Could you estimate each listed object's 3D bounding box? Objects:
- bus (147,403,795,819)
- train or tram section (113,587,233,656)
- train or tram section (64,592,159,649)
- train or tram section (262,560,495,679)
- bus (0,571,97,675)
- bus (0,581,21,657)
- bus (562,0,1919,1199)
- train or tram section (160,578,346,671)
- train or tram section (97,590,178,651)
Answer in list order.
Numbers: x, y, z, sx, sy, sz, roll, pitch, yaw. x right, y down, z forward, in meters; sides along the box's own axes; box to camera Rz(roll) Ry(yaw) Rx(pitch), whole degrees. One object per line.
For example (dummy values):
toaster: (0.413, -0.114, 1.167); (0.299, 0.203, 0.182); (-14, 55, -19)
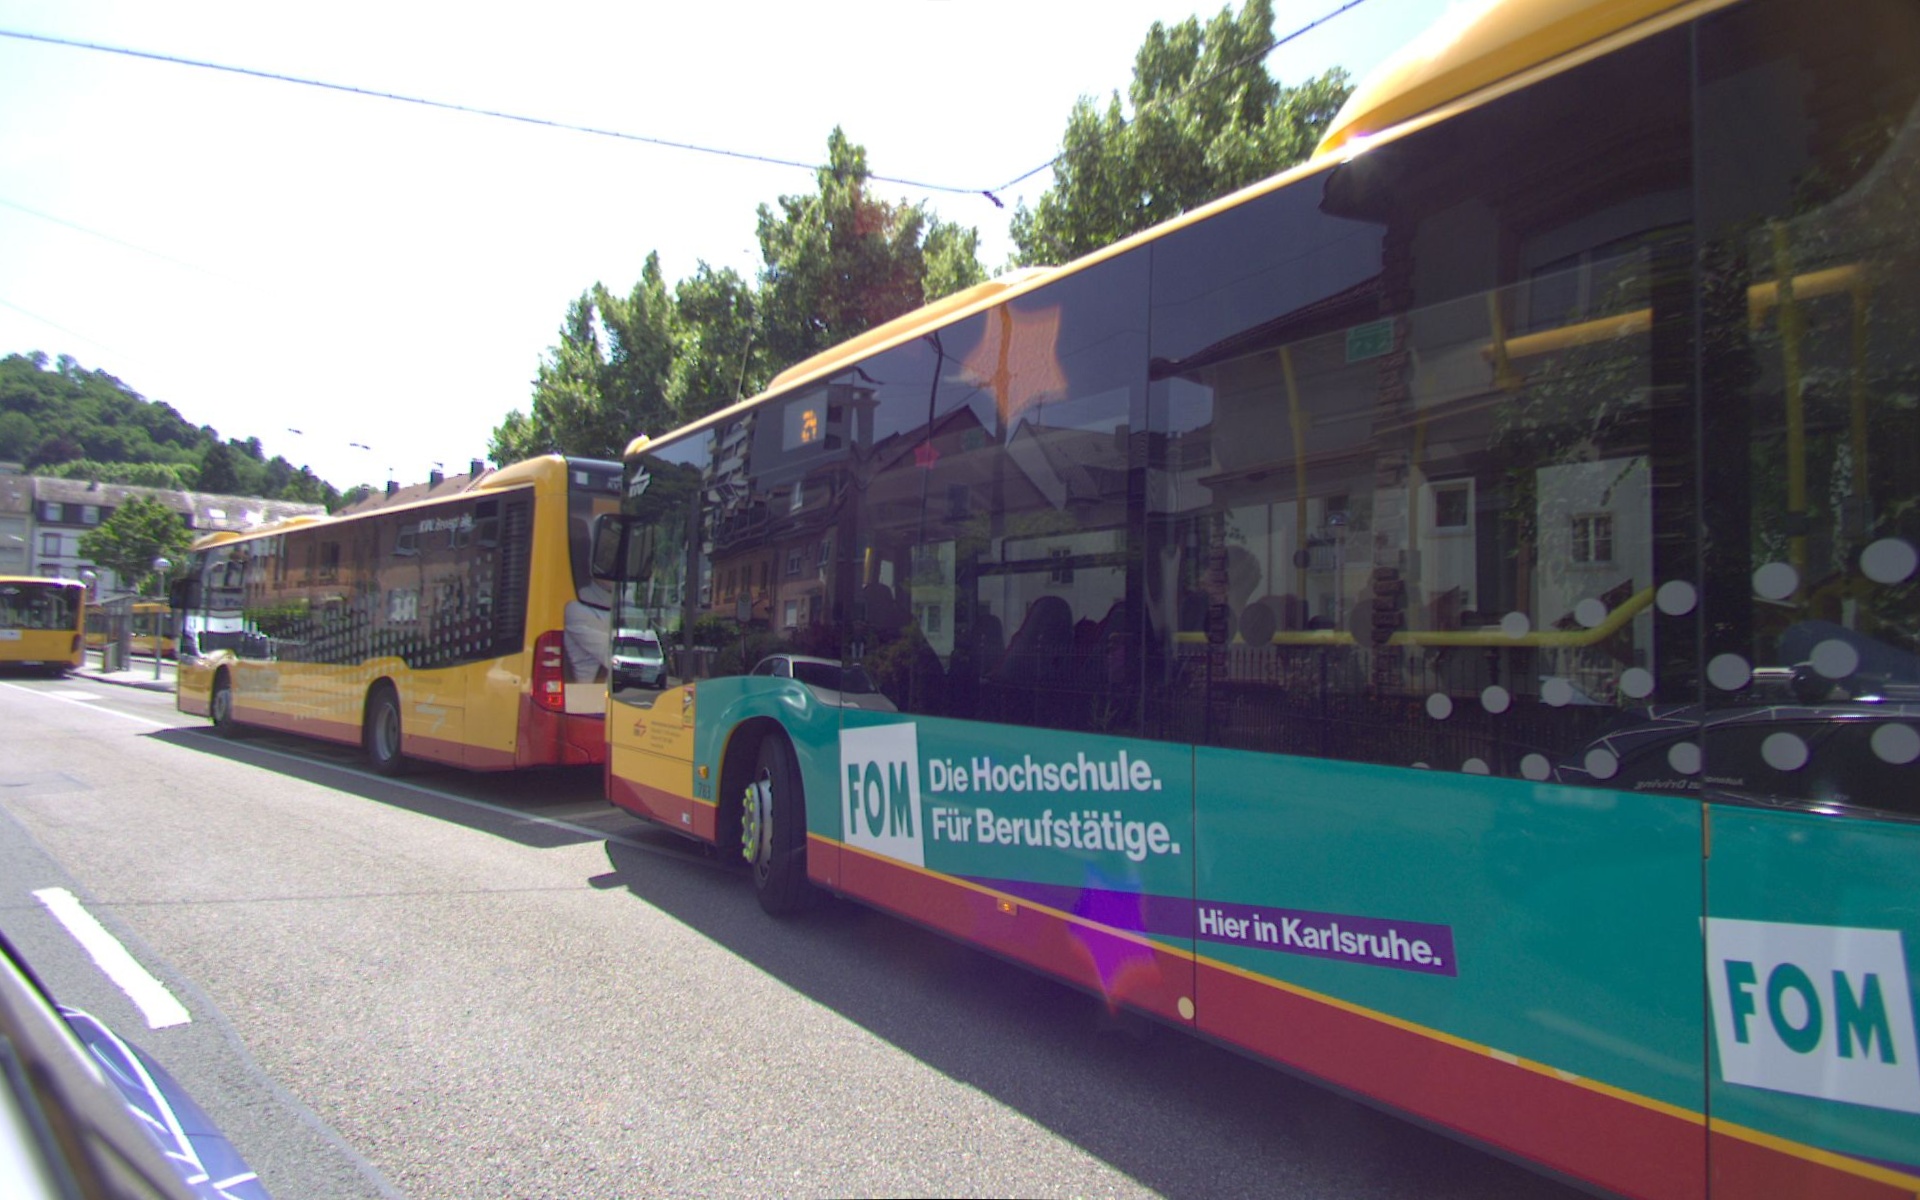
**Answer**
bus: (-7.188, 0.131, 13.018); (12.110, 3.272, 2.877); (0, -1, 41)
train or tram section: (-44.381, 1.128, 56.843); (12.650, 3.522, 2.932); (0, -1, 41)
train or tram section: (-57.124, 1.335, 67.967); (12.706, 3.522, 2.932); (0, -1, 41)
train or tram section: (-21.611, 0.664, 36.916); (13.986, 3.670, 2.932); (0, -1, 41)
bus: (-34.062, 0.660, 36.399); (12.192, 3.272, 2.867); (1, 0, 41)
bus: (-48.907, 0.981, 49.580); (12.031, 3.453, 2.878); (-2, -2, 41)
bus: (1.857, -0.180, 3.545); (2.743, 3.233, 12.331); (1, -2, -37)
train or tram section: (-33.300, 1.042, 47.084); (17.342, 3.670, 2.932); (0, -1, 41)
train or tram section: (-50.729, 1.264, 62.403); (4.415, 3.522, 2.932); (0, -4, 41)
